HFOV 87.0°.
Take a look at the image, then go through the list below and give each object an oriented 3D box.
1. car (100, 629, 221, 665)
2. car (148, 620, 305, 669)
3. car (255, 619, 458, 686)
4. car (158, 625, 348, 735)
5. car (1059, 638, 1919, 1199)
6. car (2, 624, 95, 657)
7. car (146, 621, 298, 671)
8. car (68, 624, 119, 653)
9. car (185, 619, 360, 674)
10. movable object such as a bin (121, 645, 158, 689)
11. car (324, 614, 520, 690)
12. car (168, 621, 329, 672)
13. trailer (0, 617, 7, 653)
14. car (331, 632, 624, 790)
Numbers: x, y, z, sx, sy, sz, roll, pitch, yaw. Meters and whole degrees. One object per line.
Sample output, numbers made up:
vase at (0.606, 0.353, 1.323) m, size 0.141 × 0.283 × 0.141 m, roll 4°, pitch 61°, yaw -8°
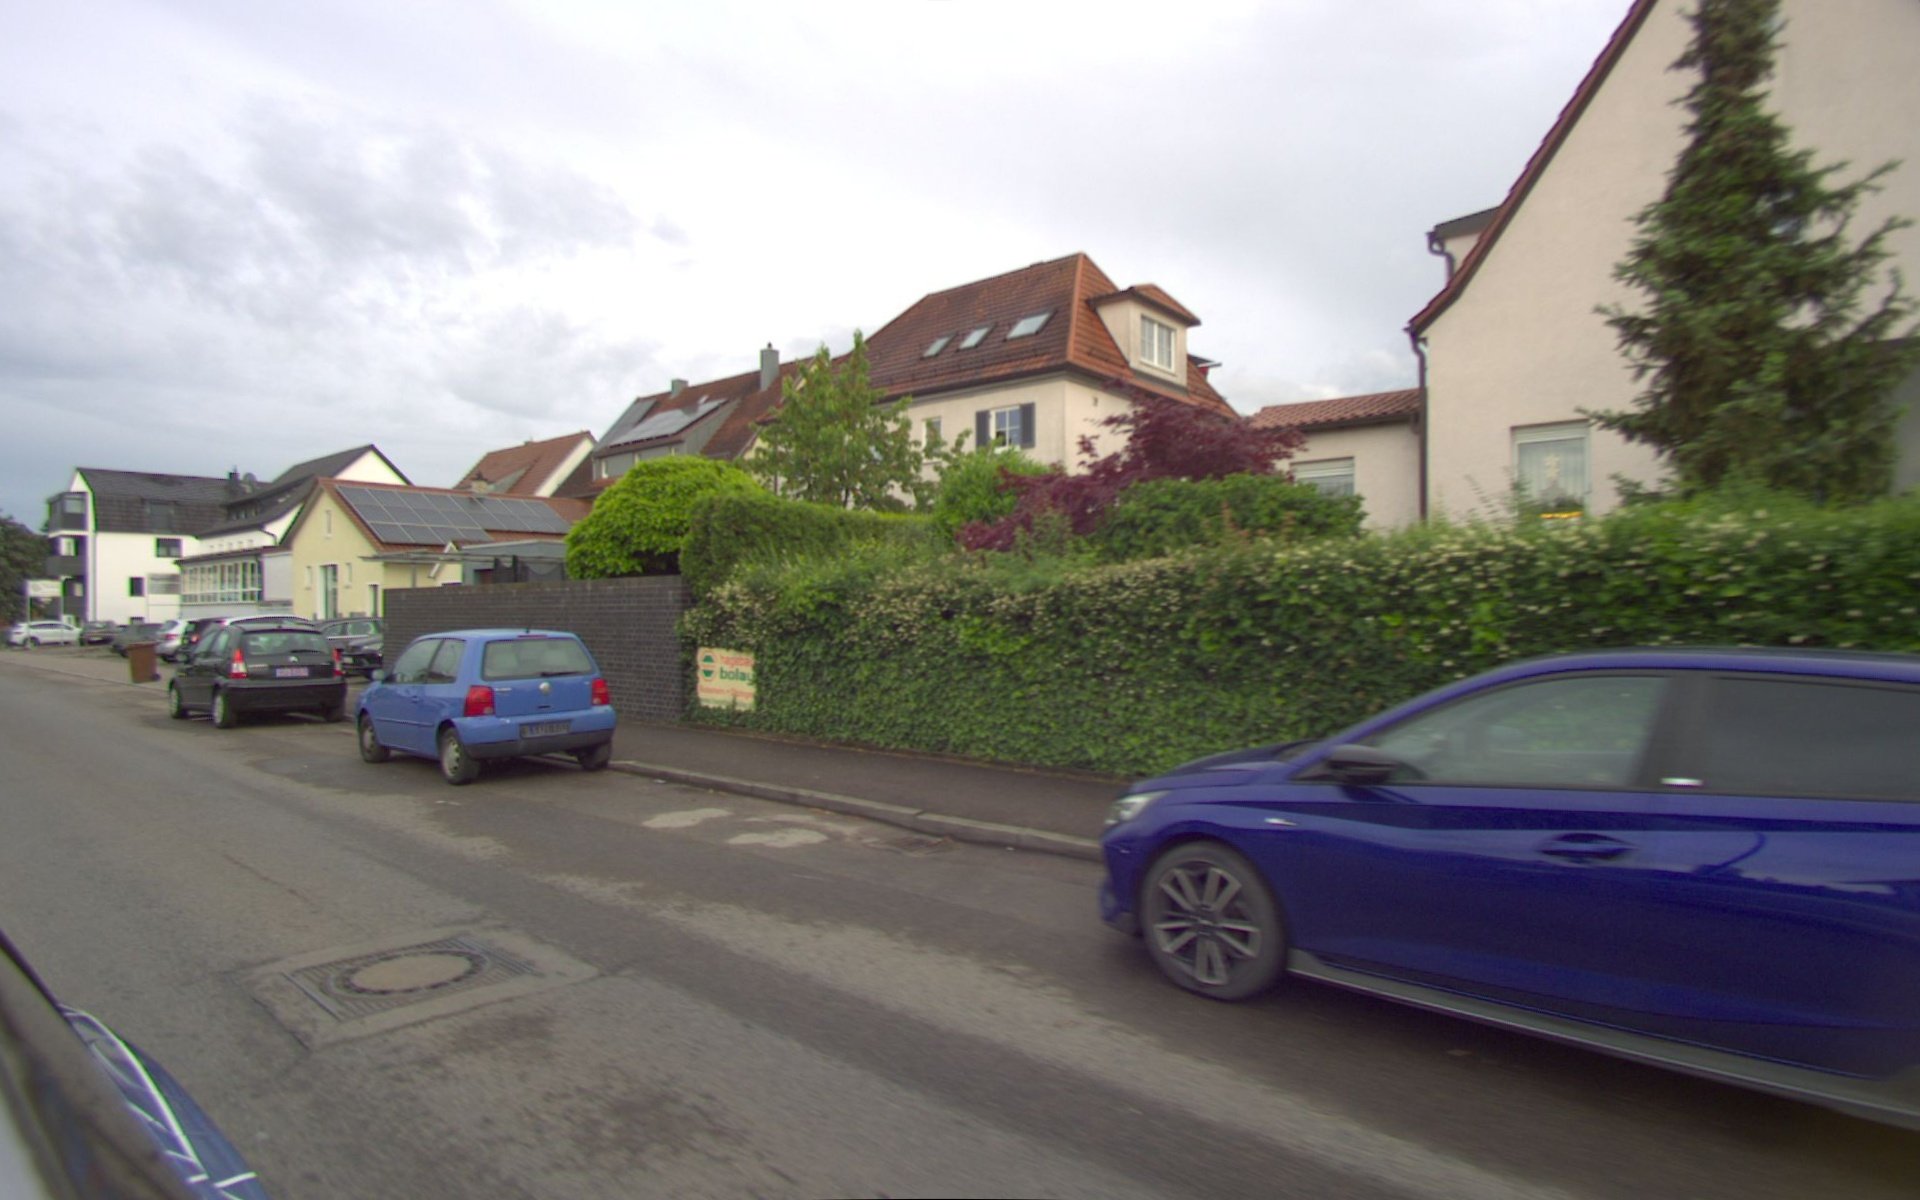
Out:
car at (-34.506, 2.002, 43.749) m, size 1.766 × 1.449 × 3.834 m, roll -2°, pitch -2°, yaw 40°
car at (-25.259, 1.503, 34.957) m, size 1.811 × 1.544 × 4.046 m, roll -2°, pitch -2°, yaw 37°
car at (-15.075, 1.268, 25.451) m, size 1.711 × 1.424 × 4.045 m, roll -2°, pitch 0°, yaw 38°
car at (-11.181, 1.174, 15.927) m, size 3.705 × 1.518 × 1.591 m, roll -2°, pitch -3°, yaw 41°
car at (2.487, 0.855, 3.735) m, size 3.943 × 1.414 × 1.788 m, roll -2°, pitch -3°, yaw 41°
car at (-56.671, 2.492, 62.976) m, size 1.998 × 1.659 × 3.949 m, roll -2°, pitch 2°, yaw 39°
car at (-26.813, 1.648, 36.870) m, size 1.995 × 1.544 × 4.048 m, roll -6°, pitch -3°, yaw 35°
car at (-52.108, 2.301, 60.836) m, size 4.000 × 1.541 × 1.800 m, roll -2°, pitch 4°, yaw 43°
car at (-20.903, 1.369, 30.892) m, size 1.880 × 1.525 × 4.046 m, roll -2°, pitch -2°, yaw 37°
movable object such as a bin at (-21.637, 1.769, 26.689) m, size 0.686 × 1.065 × 0.590 m, roll -4°, pitch 2°, yaw 41°
car at (-12.294, 1.129, 23.283) m, size 1.753 × 1.468 × 3.553 m, roll -1°, pitch 0°, yaw 36°
car at (-23.573, 1.504, 33.646) m, size 1.752 × 1.514 × 4.048 m, roll -2°, pitch -1°, yaw 35°
trailer at (-83.963, 3.013, 86.121) m, size 2.167 × 3.069 × 4.006 m, roll -2°, pitch -1°, yaw 42°
car at (-5.253, 1.053, 10.840) m, size 3.595 × 1.414 × 1.529 m, roll -2°, pitch -3°, yaw 41°
